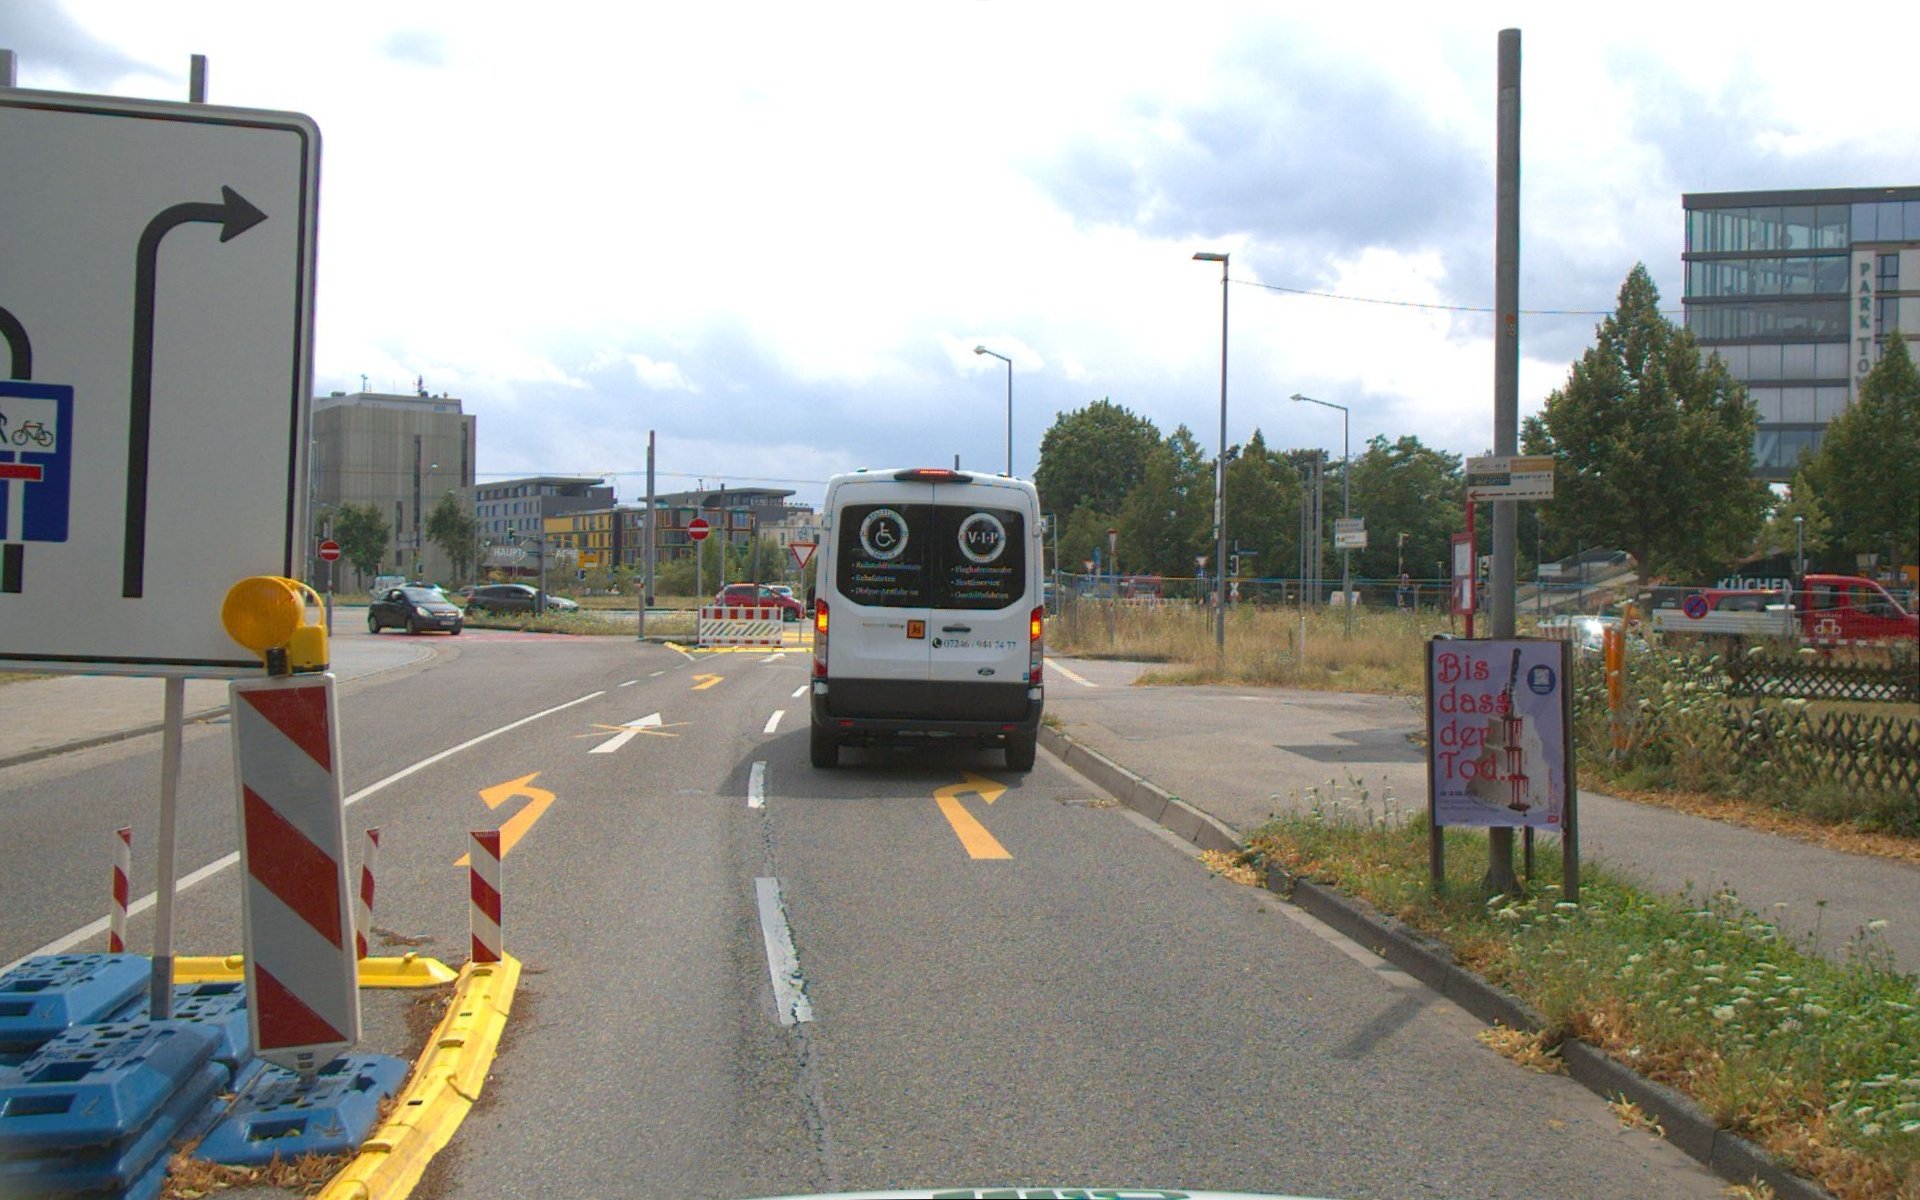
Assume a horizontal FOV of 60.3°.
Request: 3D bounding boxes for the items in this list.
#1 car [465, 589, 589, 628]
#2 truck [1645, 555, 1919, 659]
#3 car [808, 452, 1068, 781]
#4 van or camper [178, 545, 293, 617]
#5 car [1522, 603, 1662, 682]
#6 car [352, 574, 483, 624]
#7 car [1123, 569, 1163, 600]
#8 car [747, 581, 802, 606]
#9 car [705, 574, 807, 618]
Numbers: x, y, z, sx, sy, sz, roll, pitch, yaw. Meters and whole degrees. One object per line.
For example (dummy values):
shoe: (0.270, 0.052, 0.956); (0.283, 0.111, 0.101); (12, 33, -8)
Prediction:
car: (-16.556, 0.314, 63.347); (4.249, 1.377, 1.624); (-1, 1, 8)
truck: (21.075, 0.141, 42.222); (6.525, 2.468, 2.534); (1, 1, 22)
car: (-0.310, 0.106, 15.272); (2.022, 2.584, 3.997); (2, 1, -4)
van or camper: (-29.192, -0.784, 66.556); (2.142, 2.772, 6.174); (-2, 2, -45)
car: (14.081, 0.900, 37.102); (1.812, 1.523, 4.339); (-1, 1, 5)
car: (-17.221, -0.043, 52.454); (4.168, 1.504, 1.772); (1, 1, 33)
car: (11.383, -0.977, 103.152); (1.965, 1.848, 4.412); (-1, 1, 0)
car: (-14.616, -0.524, 130.128); (3.958, 1.802, 1.745); (-2, 1, -37)
car: (-8.445, -0.201, 68.446); (3.923, 1.691, 1.882); (-2, 1, -17)
